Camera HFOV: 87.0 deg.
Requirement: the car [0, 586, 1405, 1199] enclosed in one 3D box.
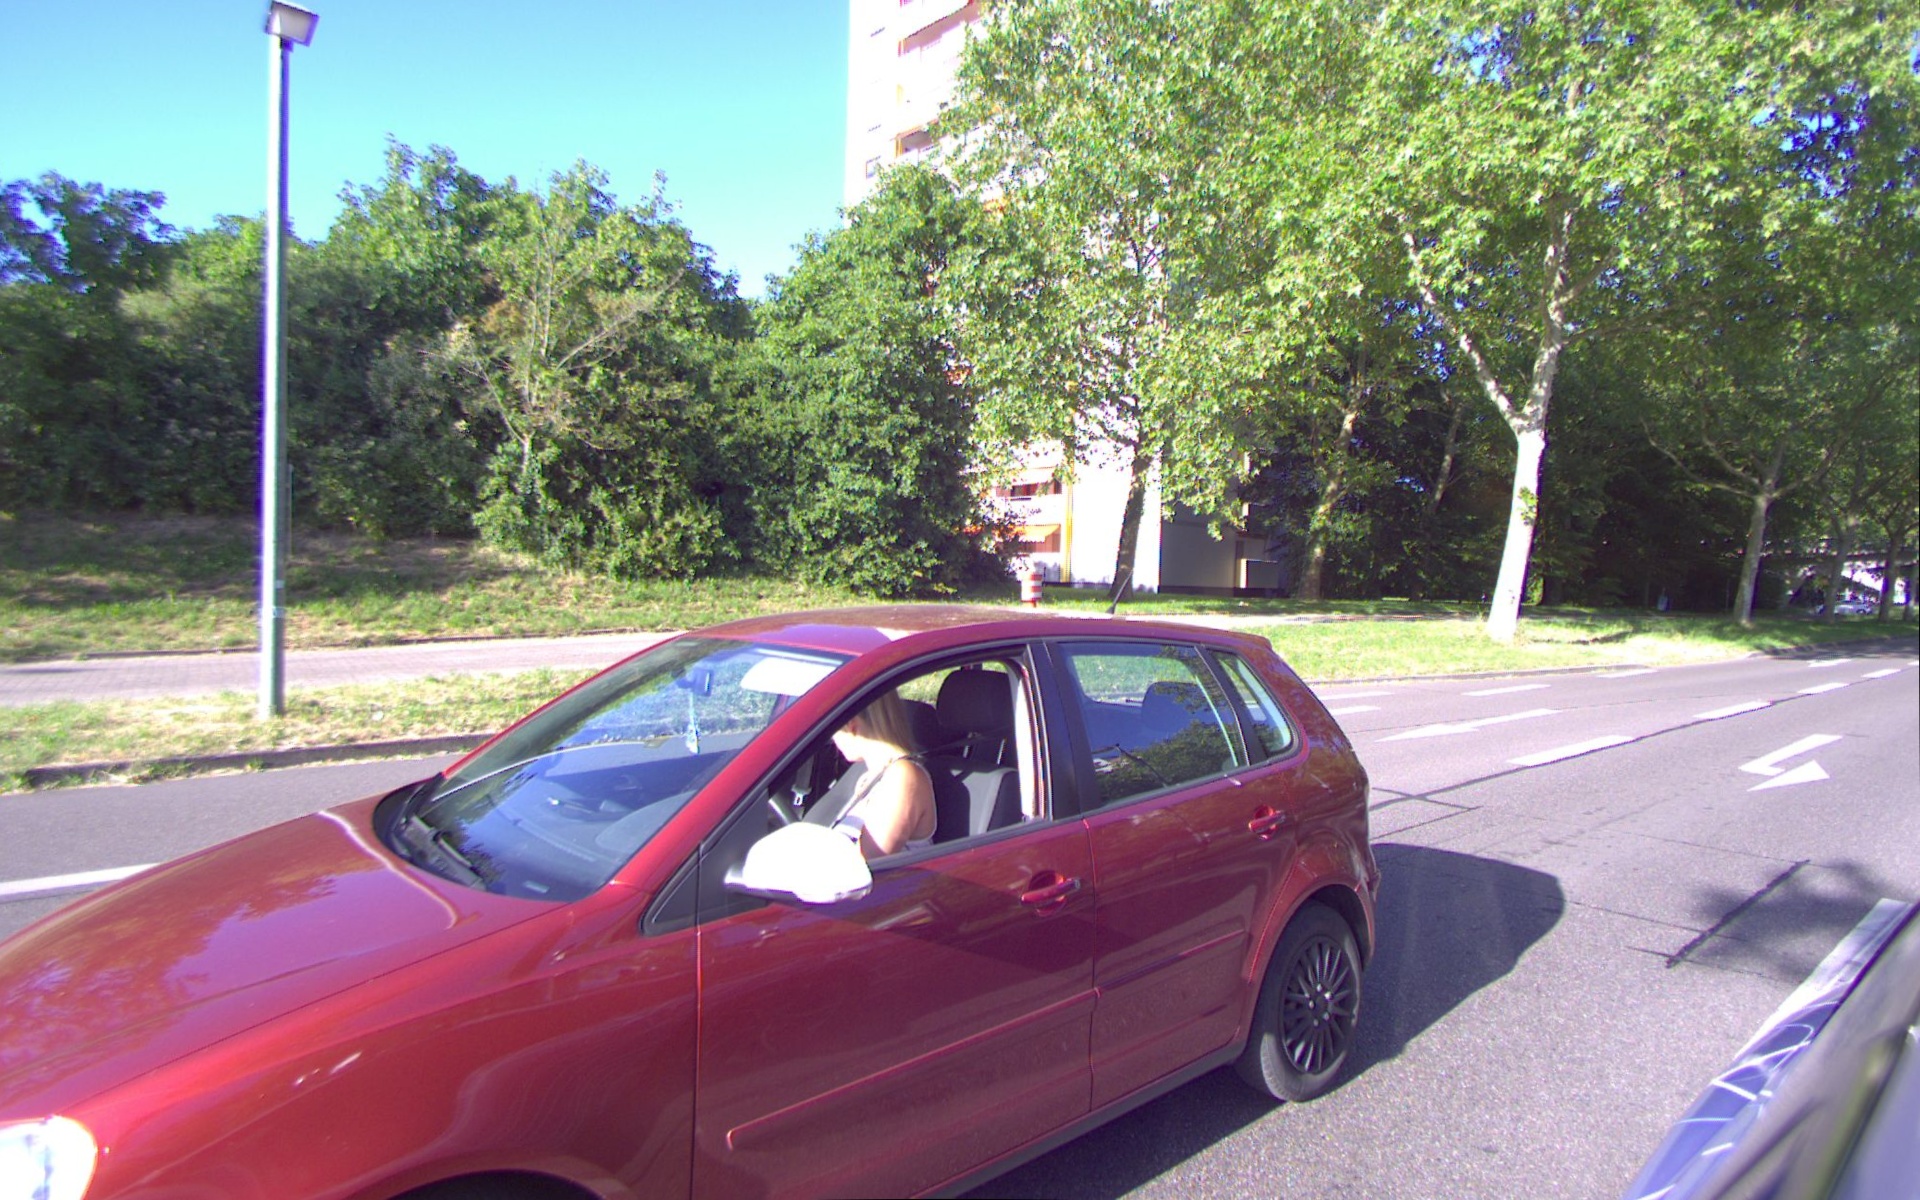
[{"bbox_3d":[-0.442,0.710,2.726,3.624,1.479,1.579,-1,0,-40],"label":"car"}]
